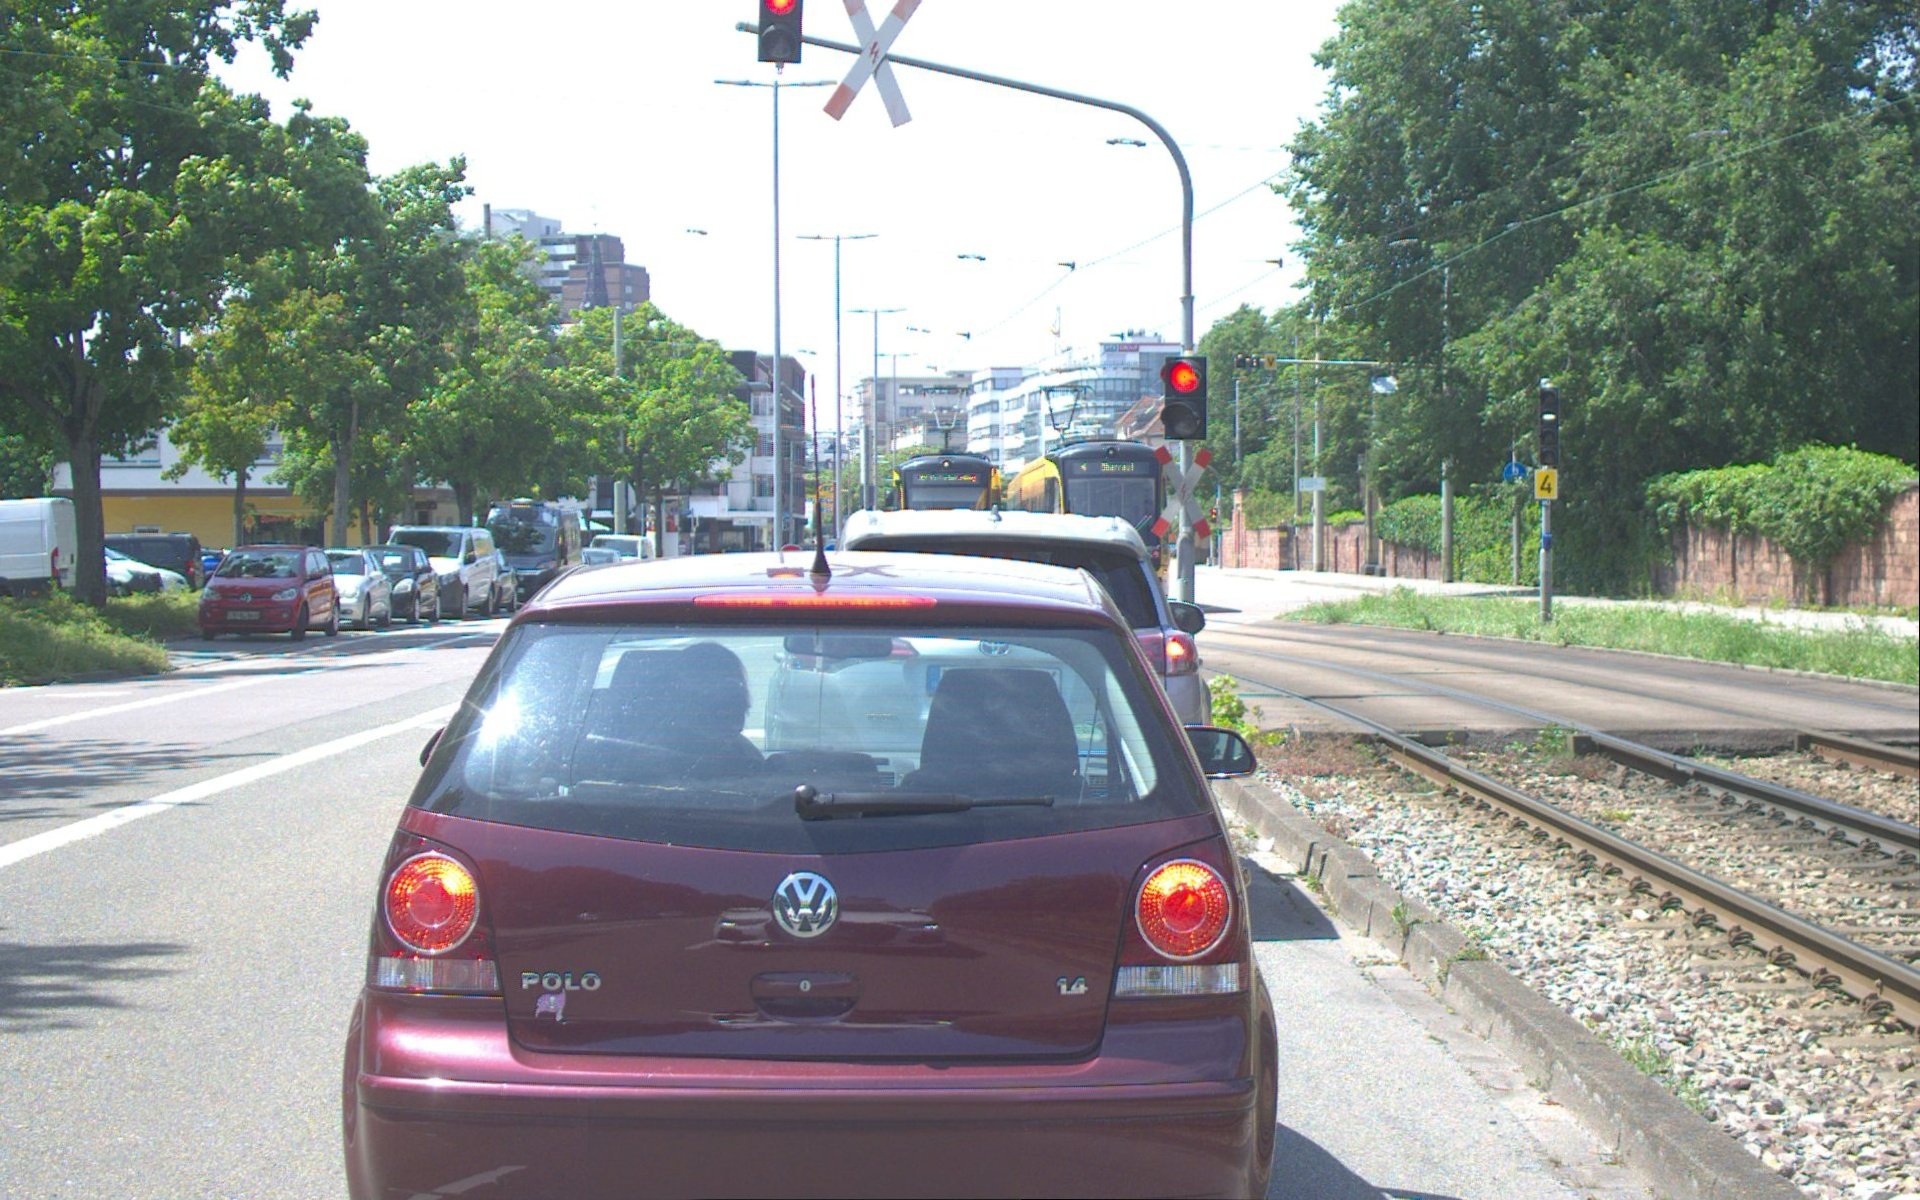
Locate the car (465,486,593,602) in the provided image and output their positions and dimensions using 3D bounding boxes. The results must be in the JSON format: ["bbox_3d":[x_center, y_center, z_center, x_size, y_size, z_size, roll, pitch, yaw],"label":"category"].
[{"bbox_3d":[-10.565,-1.350,84.599,2.361,2.683,5.307,2,0,0],"label":"car"}]

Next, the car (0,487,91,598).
[{"bbox_3d":[-20.911,-1.240,71.300,5.097,2.237,2.378,2,0,1],"label":"car"}]

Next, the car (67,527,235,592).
[{"bbox_3d":[-21.656,-1.076,92.116,4.020,1.611,1.816,2,0,1],"label":"car"}]

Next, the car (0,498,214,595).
[{"bbox_3d":[-21.310,-1.325,85.111,5.097,2.237,2.378,2,0,1],"label":"car"}]

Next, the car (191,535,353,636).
[{"bbox_3d":[-10.914,-0.231,54.777,1.663,1.491,4.000,2,0,1],"label":"car"}]

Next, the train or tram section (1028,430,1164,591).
[{"bbox_3d":[3.350,-2.260,88.034,3.028,3.785,13.090,0,1,0],"label":"train or tram section"}]

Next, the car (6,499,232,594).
[{"bbox_3d":[-21.421,-1.346,87.707,5.097,2.237,2.378,2,0,1],"label":"car"}]

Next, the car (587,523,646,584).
[{"bbox_3d":[-10.770,-1.439,107.884,1.774,1.822,4.001,2,0,-6],"label":"car"}]

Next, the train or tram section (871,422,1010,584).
[{"bbox_3d":[-0.609,-2.354,84.486,2.740,3.597,12.872,2,1,-3],"label":"train or tram section"}]

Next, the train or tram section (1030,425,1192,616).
[{"bbox_3d":[3.148,-1.724,75.003,3.028,3.785,13.090,0,1,0],"label":"train or tram section"}]

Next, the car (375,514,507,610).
[{"bbox_3d":[-10.758,-0.783,71.561,1.783,1.875,4.785,2,0,2],"label":"car"}]

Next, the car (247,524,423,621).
[{"bbox_3d":[-11.089,-0.487,61.324,1.976,1.595,4.557,2,0,4],"label":"car"}]

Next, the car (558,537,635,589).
[{"bbox_3d":[-10.743,-1.085,101.799,1.614,1.436,4.000,2,0,3],"label":"car"}]

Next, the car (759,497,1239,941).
[{"bbox_3d":[0.102,0.407,15.016,1.777,1.641,4.000,1,1,-1],"label":"car"}]

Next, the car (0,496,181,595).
[{"bbox_3d":[-21.562,-1.315,82.595,5.097,2.237,2.378,2,0,1],"label":"car"}]

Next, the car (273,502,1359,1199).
[{"bbox_3d":[-0.273,0.581,7.384,1.672,1.516,4.000,1,1,-1],"label":"car"}]
